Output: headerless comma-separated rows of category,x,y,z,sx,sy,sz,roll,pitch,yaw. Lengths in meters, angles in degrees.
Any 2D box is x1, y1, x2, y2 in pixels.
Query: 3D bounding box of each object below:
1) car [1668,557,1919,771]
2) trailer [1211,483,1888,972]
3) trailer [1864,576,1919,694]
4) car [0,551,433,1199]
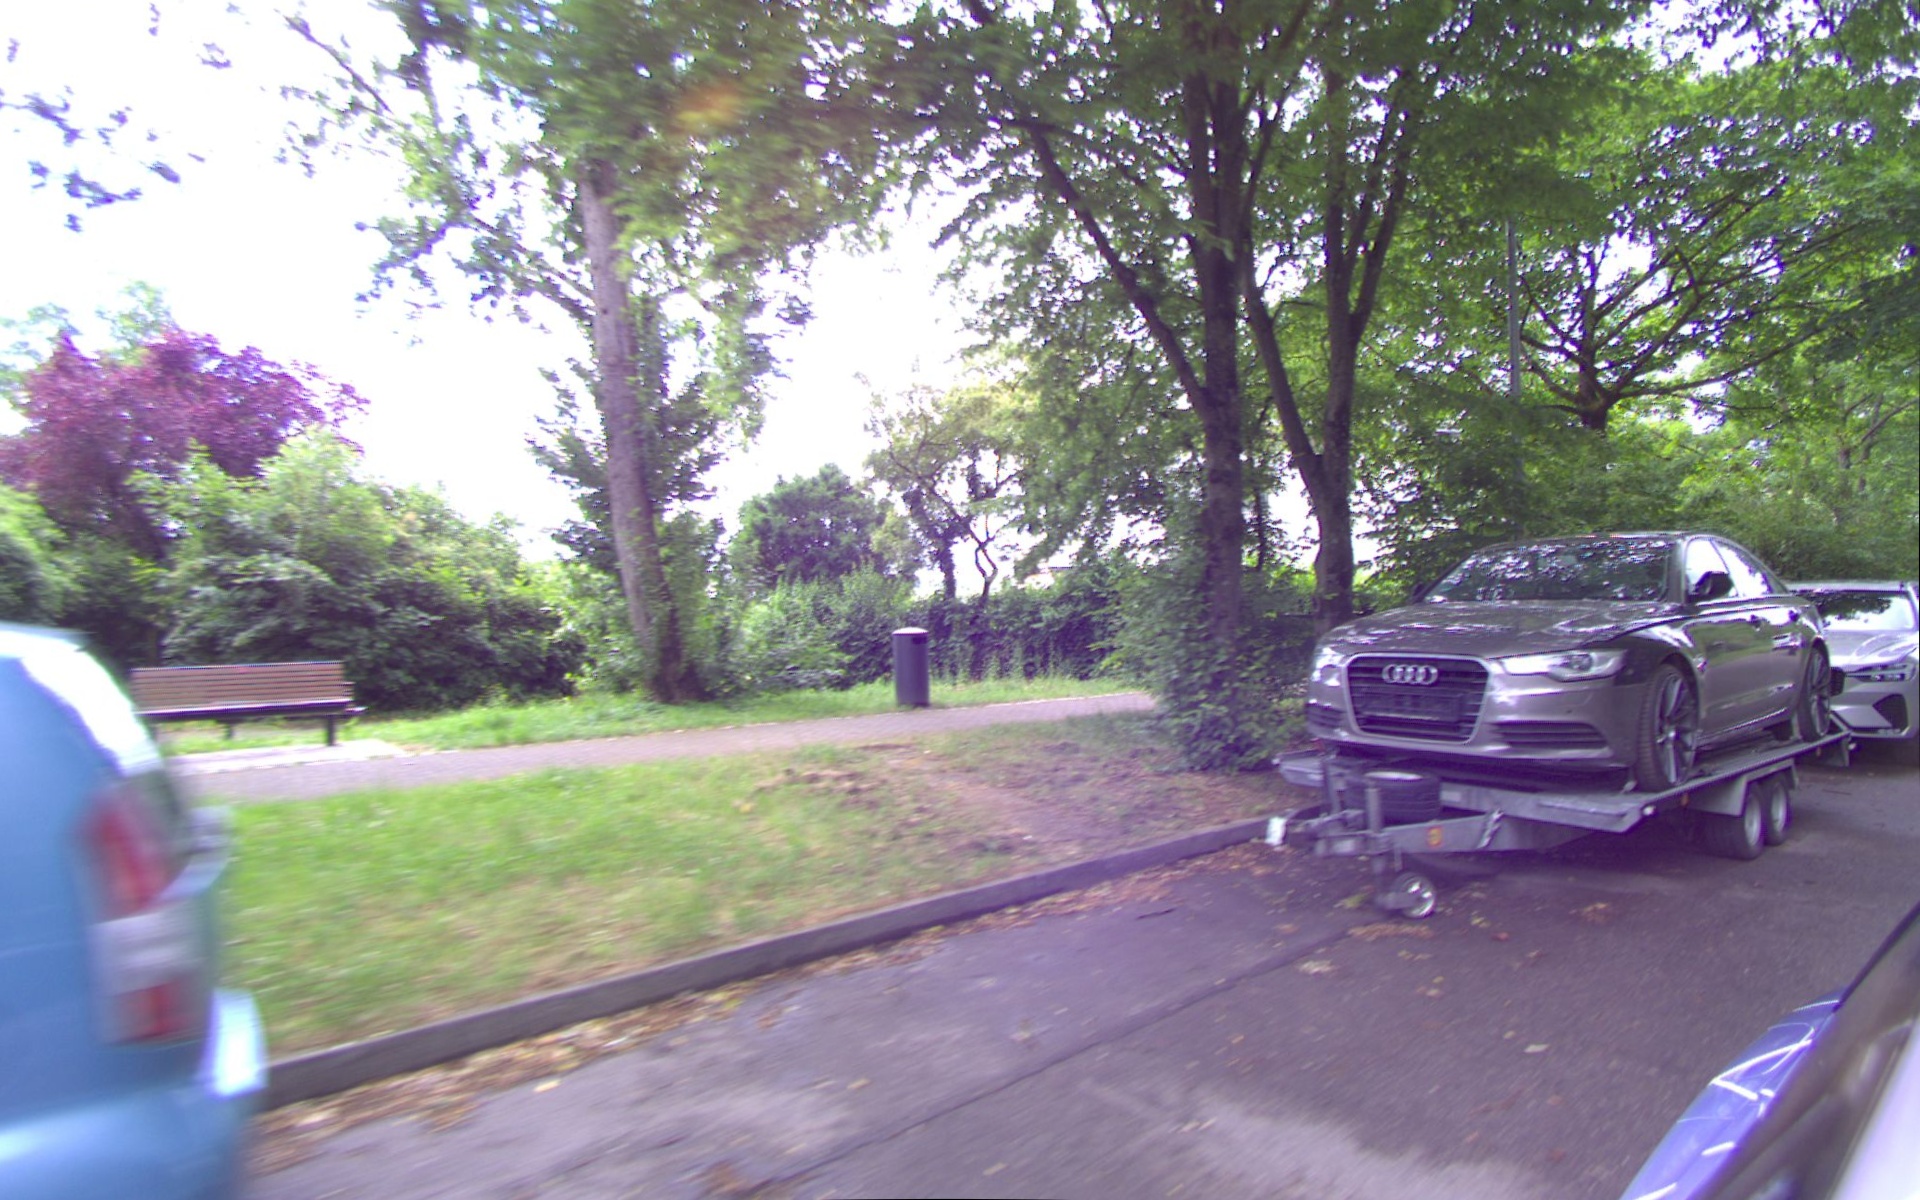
car,8.905,0.490,10.131,4.519,1.706,1.844,-1,0,-40
trailer,4.259,0.427,6.687,5.790,1.957,1.997,-2,1,-40
trailer,14.120,0.483,14.523,2.227,1.625,1.376,0,-1,-40
car,-2.805,0.728,1.081,3.703,1.567,1.698,0,0,-41
